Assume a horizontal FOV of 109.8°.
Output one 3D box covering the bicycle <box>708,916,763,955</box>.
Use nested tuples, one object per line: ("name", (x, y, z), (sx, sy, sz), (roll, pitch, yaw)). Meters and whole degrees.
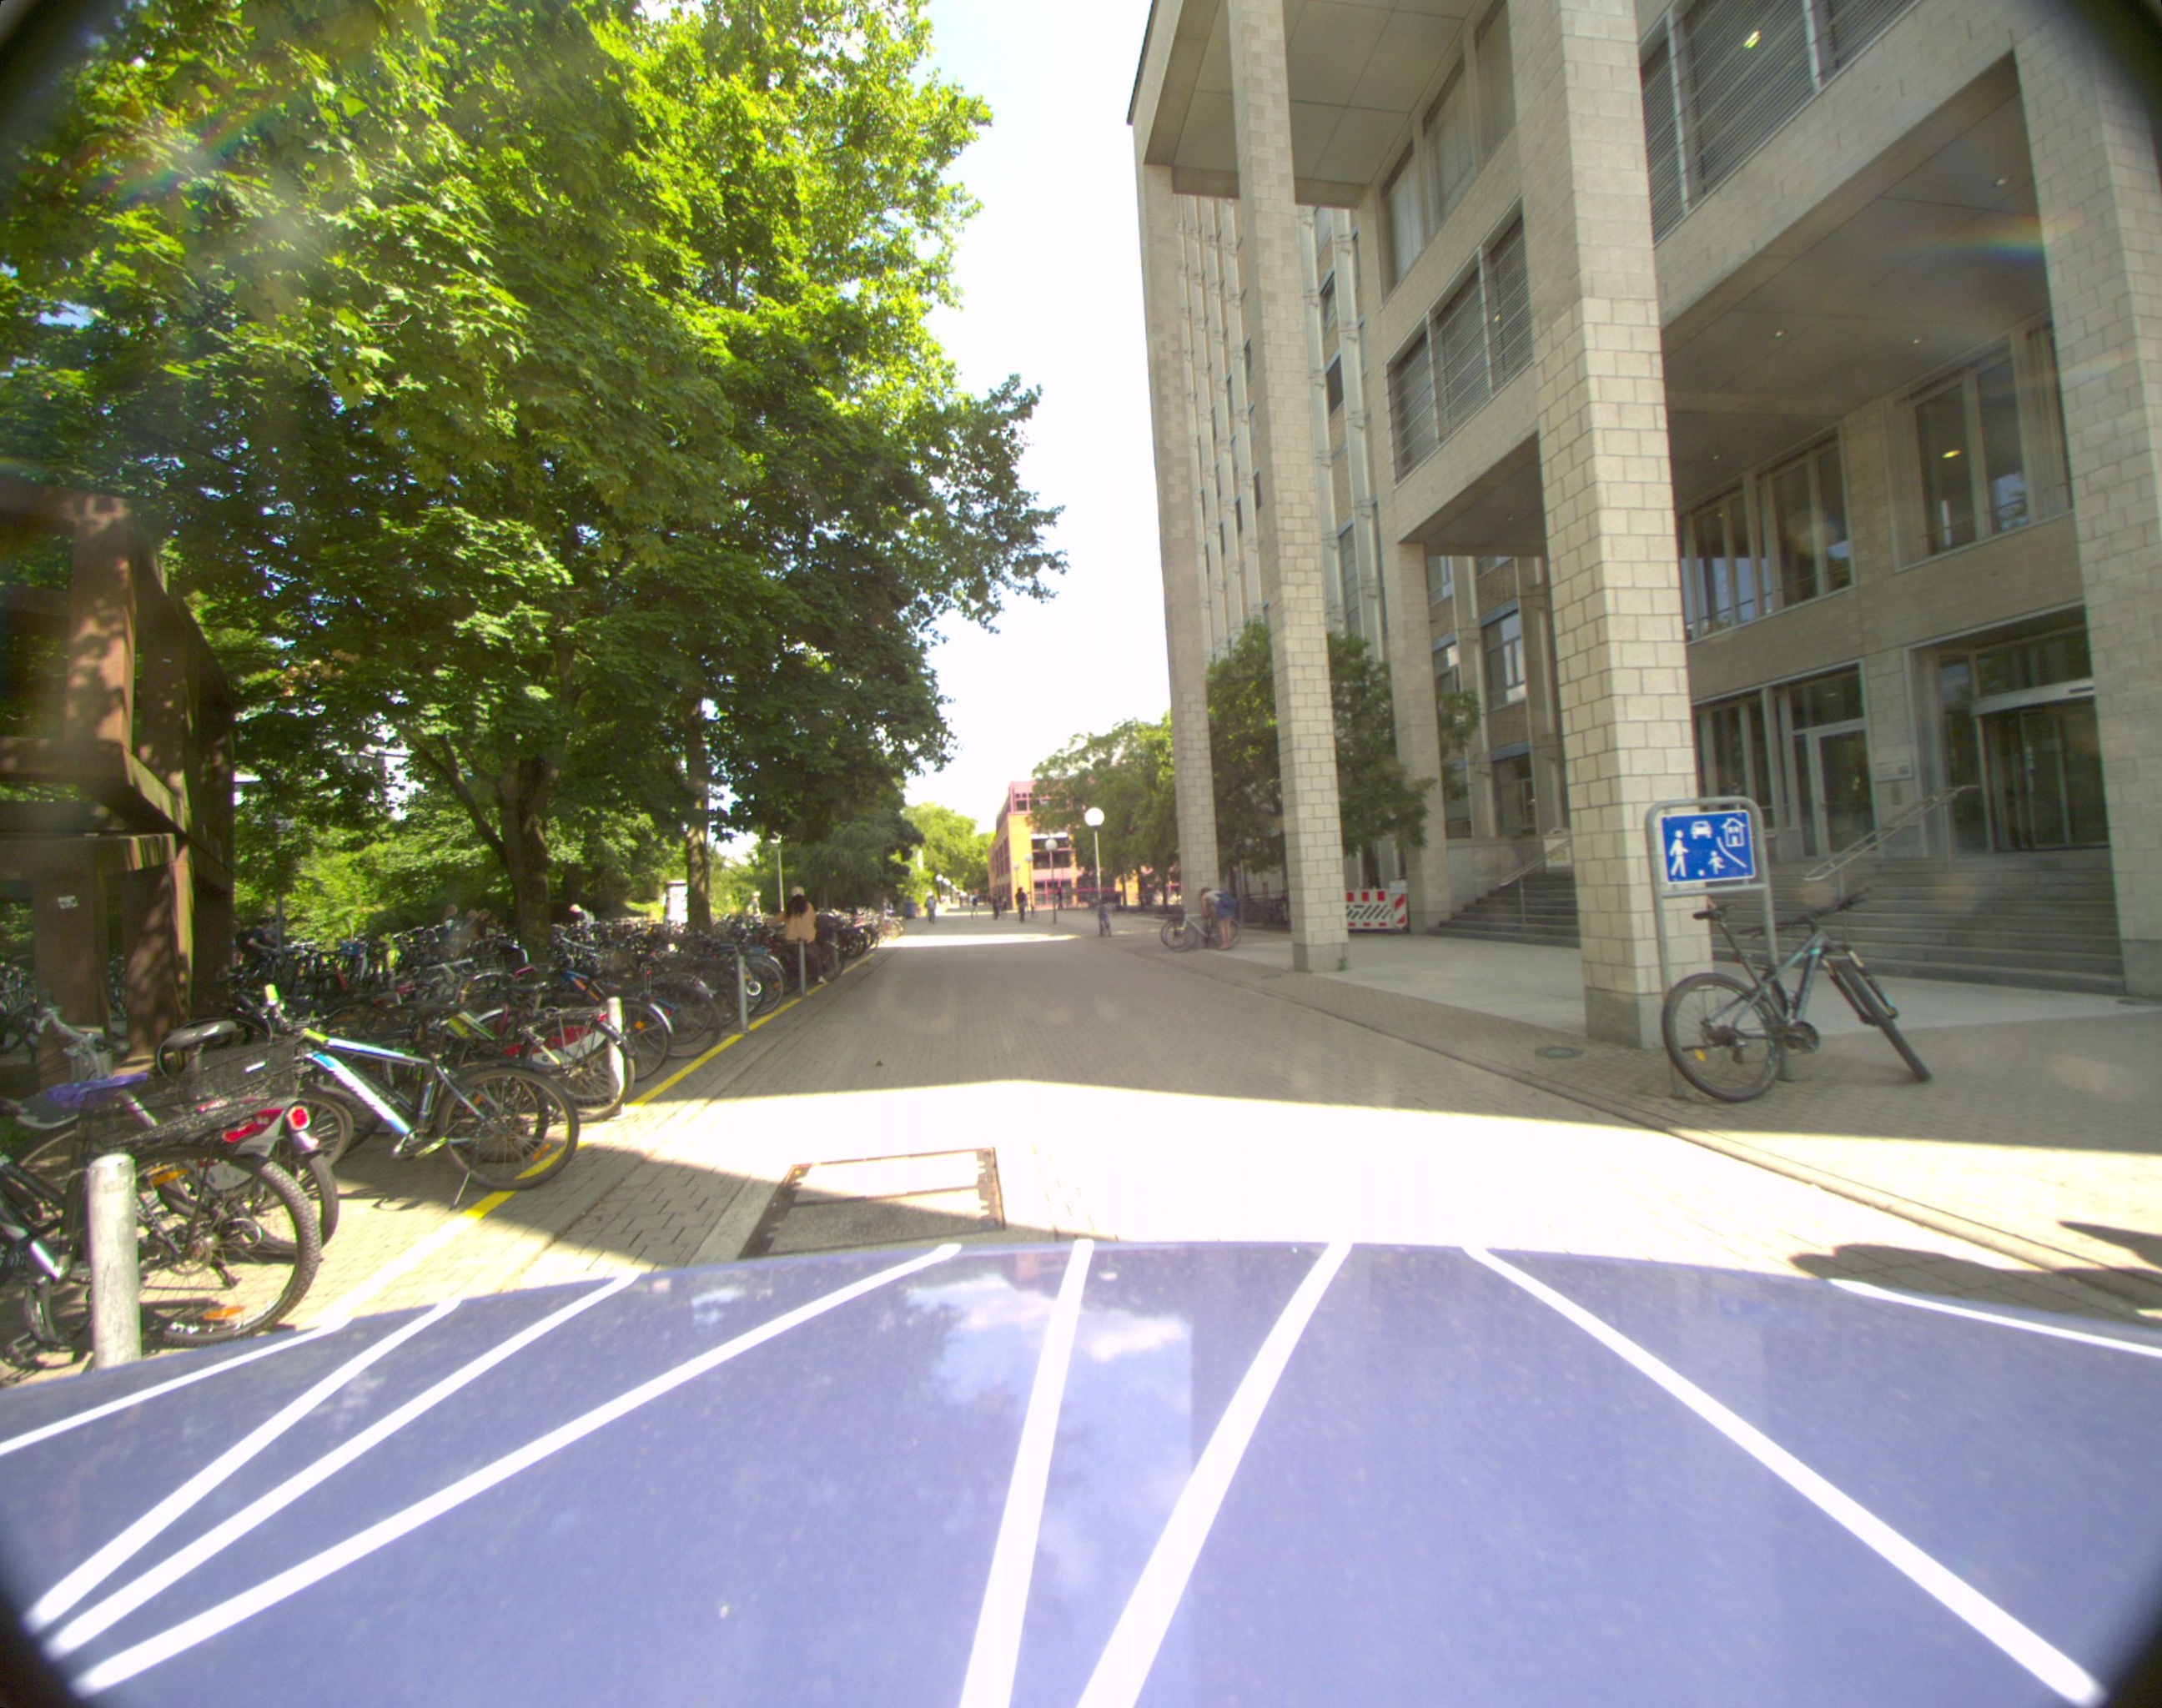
("bicycle", (-10.340, 2.433, 22.719), (1.685, 1.076, 0.480), (-5, -4, 23))

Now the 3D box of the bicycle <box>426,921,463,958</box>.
("bicycle", (-19.696, 2.651, 23.496), (1.607, 1.087, 0.349), (-4, 0, 32))

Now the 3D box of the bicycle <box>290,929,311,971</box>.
("bicycle", (-21.898, 2.675, 21.307), (1.607, 1.087, 0.349), (-4, -1, 44))

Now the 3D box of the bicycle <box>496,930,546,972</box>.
("bicycle", (-15.290, 2.654, 20.739), (1.469, 1.076, 0.353), (-4, -4, 21))

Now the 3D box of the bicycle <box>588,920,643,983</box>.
("bicycle", (-9.338, 1.922, 15.213), (1.840, 1.163, 0.414), (-4, -2, 42))

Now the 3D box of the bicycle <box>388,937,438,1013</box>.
("bicycle", (-11.501, 2.038, 13.065), (1.840, 1.163, 0.414), (-4, -2, 42))

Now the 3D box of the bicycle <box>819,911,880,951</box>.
("bicycle", (-6.930, 2.307, 22.831), (1.689, 1.076, 0.478), (-2, -4, -14))

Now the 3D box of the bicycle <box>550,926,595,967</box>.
("bicycle", (-14.332, 2.608, 21.390), (1.684, 1.076, 0.480), (-6, -5, 35))

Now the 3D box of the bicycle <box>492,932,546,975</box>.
("bicycle", (-14.977, 2.647, 20.231), (1.469, 1.076, 0.353), (-4, -4, 17))

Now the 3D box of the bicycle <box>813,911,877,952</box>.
("bicycle", (-6.778, 2.221, 21.886), (1.689, 1.076, 0.478), (-2, -4, -14))

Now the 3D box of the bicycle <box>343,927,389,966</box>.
("bicycle", (-20.868, 2.712, 22.157), (1.607, 1.087, 0.348), (-4, 0, 24))

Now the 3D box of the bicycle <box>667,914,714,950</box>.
("bicycle", (-12.551, 2.499, 24.396), (1.684, 1.076, 0.480), (-5, -5, 30))

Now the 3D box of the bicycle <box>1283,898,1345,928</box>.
("bicycle", (6.689, 1.670, 21.924), (0.644, 0.755, 1.987), (-2, -1, -18))

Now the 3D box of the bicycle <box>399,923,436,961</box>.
("bicycle", (-20.112, 2.672, 23.025), (1.607, 1.087, 0.349), (-4, 0, 32))

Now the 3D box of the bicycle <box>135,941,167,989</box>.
("bicycle", (-23.172, 2.742, 18.944), (1.607, 1.087, 0.349), (-4, -1, 44))

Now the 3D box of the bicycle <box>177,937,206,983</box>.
("bicycle", (-23.037, 2.729, 19.685), (1.607, 1.087, 0.349), (-4, -1, 44))

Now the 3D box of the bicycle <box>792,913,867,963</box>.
("bicycle", (-6.145, 2.048, 18.607), (1.689, 1.122, 0.478), (-2, -4, -14))

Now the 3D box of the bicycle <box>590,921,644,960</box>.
("bicycle", (-13.688, 2.563, 22.422), (1.684, 1.076, 0.480), (-5, -4, 23))

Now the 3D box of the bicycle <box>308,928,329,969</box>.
("bicycle", (-21.654, 2.663, 21.564), (1.607, 1.087, 0.349), (-4, -1, 44))

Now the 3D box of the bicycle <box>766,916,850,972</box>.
("bicycle", (-6.033, 1.986, 16.862), (1.689, 1.122, 0.454), (-2, -4, -14))

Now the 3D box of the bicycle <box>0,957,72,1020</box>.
("bicycle", (-19.457, 2.467, 14.113), (0.379, 0.973, 1.899), (-3, -1, -39))

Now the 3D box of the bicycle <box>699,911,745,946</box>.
("bicycle", (-11.814, 2.464, 24.968), (1.684, 1.076, 0.480), (-5, -5, 30))

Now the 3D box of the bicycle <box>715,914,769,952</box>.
("bicycle", (-10.380, 2.429, 23.264), (1.685, 1.076, 0.480), (-5, -4, 23))

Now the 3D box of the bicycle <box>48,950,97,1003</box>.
("bicycle", (-23.893, 2.879, 18.015), (1.607, 1.087, 0.479), (-4, -1, 44))

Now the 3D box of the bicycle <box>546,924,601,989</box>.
("bicycle", (-9.818, 1.948, 14.675), (1.840, 1.163, 0.414), (-4, -2, 42))

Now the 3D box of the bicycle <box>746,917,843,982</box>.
("bicycle", (-5.547, 1.836, 14.757), (1.689, 1.122, 0.454), (-2, -4, -14))

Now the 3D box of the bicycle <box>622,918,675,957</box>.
("bicycle", (-13.131, 2.534, 23.061), (1.684, 1.076, 0.480), (-5, -4, 23))

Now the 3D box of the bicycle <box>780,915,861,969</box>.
("bicycle", (-5.953, 1.995, 17.420), (1.689, 1.122, 0.478), (-2, -4, -14))

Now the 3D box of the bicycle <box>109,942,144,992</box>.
("bicycle", (-23.455, 2.755, 18.679), (1.607, 1.087, 0.349), (-4, -1, 44))

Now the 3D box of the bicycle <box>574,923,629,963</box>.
("bicycle", (-13.882, 2.576, 21.975), (1.684, 1.076, 0.480), (-5, -4, 23))

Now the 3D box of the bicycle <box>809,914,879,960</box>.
("bicycle", (-6.119, 2.145, 19.678), (1.689, 1.076, 0.478), (-2, -4, -14))

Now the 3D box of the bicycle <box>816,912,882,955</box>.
("bicycle", (-6.456, 2.205, 21.116), (1.690, 1.076, 0.478), (-1, -4, -22))

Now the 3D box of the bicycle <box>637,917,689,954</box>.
("bicycle", (-12.938, 2.522, 23.508), (1.684, 1.076, 0.480), (-5, -4, 23))

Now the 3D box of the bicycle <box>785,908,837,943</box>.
("bicycle", (-8.853, 2.350, 24.902), (1.685, 1.076, 0.480), (-5, -4, 23))

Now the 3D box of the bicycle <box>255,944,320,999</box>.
("bicycle", (-15.746, 2.312, 15.060), (1.899, 0.973, 0.479), (-4, -1, 32))

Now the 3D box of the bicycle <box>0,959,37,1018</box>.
("bicycle", (-19.789, 2.473, 13.848), (0.379, 0.973, 1.899), (-3, -1, -39))

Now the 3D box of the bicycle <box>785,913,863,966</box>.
("bicycle", (-6.070, 2.014, 17.994), (1.689, 1.122, 0.478), (-2, -4, -14))

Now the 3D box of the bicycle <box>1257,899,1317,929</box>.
("bicycle", (5.890, 1.701, 21.879), (0.644, 0.755, 1.987), (-2, -1, -18))

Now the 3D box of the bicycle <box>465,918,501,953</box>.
("bicycle", (-19.303, 2.623, 24.527), (1.607, 1.087, 0.349), (-4, 0, 32))

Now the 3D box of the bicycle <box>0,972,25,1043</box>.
("bicycle", (-17.807, 2.513, 12.407), (1.738, 1.017, 0.479), (-4, -1, 40))

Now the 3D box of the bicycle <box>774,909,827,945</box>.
("bicycle", (-9.033, 2.362, 24.459), (1.685, 1.076, 0.480), (-5, -4, 23))

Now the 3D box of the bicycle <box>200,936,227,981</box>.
("bicycle", (-22.754, 2.723, 19.933), (1.607, 1.087, 0.349), (-4, -1, 44))

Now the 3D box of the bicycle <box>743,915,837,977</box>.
("bicycle", (-5.811, 1.836, 15.248), (1.689, 1.122, 0.454), (-2, -4, -14))

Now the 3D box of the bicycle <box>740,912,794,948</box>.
("bicycle", (-9.910, 2.402, 23.972), (1.685, 1.076, 0.480), (-5, -4, 23))

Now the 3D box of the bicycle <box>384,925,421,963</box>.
("bicycle", (-20.297, 2.683, 22.730), (1.607, 1.087, 0.349), (-4, 0, 32))

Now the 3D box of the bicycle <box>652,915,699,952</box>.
("bicycle", (-12.793, 2.514, 23.963), (1.684, 1.076, 0.480), (-5, -5, 30))

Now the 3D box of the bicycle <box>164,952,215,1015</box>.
("bicycle", (-16.455, 2.355, 14.048), (1.899, 0.973, 0.479), (-4, -1, 43))

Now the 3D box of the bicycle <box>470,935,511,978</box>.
("bicycle", (-15.332, 2.667, 19.722), (1.468, 1.076, 0.353), (-6, -5, 32))

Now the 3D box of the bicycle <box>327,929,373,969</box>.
("bicycle", (-21.005, 2.721, 21.833), (1.607, 1.087, 0.348), (-4, 0, 24))
